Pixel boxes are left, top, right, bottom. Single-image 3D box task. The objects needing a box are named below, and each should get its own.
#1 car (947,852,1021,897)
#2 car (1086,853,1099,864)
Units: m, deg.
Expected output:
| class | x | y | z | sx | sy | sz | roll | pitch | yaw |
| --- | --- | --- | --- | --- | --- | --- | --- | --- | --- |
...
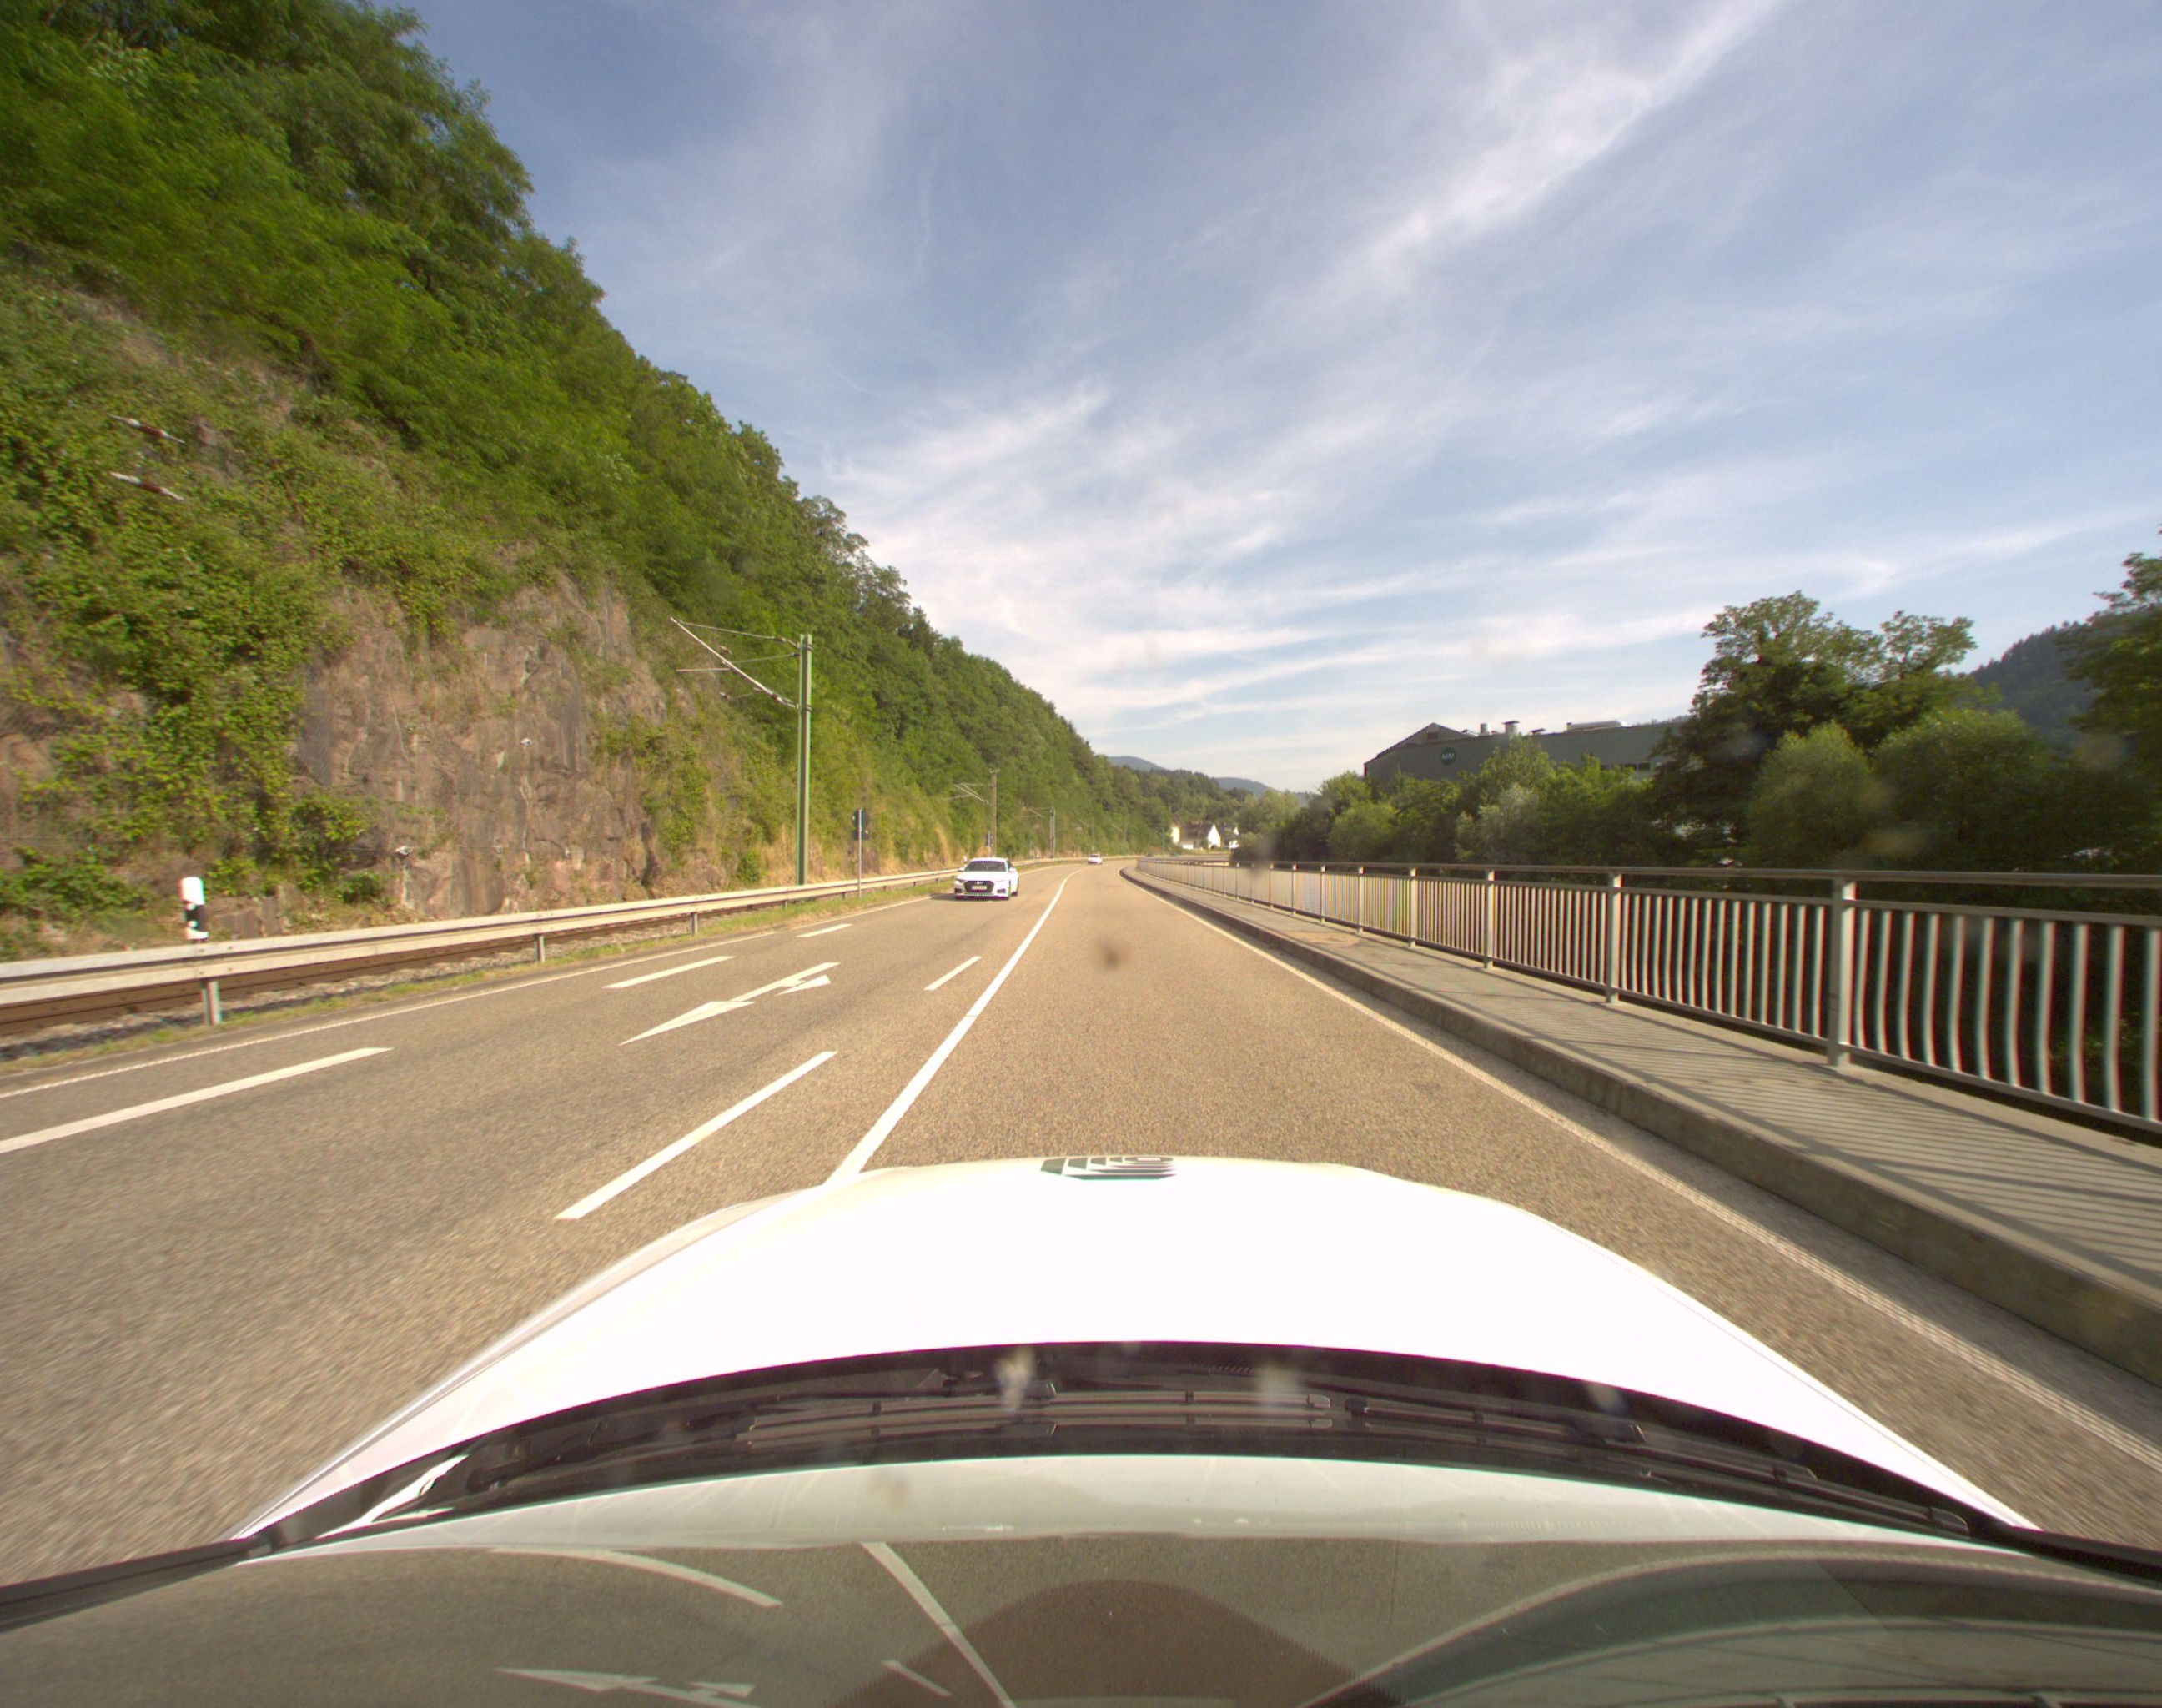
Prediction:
| class | x | y | z | sx | sy | sz | roll | pitch | yaw |
| --- | --- | --- | --- | --- | --- | --- | --- | --- | --- |
| car | -3.410 | 0.703 | 29.475 | 2.057 | 1.439 | 4.686 | 2 | 0 | 0 |
| car | 1.739 | 0.660 | 122.429 | 1.841 | 1.544 | 4.604 | -1 | 0 | 1 |
